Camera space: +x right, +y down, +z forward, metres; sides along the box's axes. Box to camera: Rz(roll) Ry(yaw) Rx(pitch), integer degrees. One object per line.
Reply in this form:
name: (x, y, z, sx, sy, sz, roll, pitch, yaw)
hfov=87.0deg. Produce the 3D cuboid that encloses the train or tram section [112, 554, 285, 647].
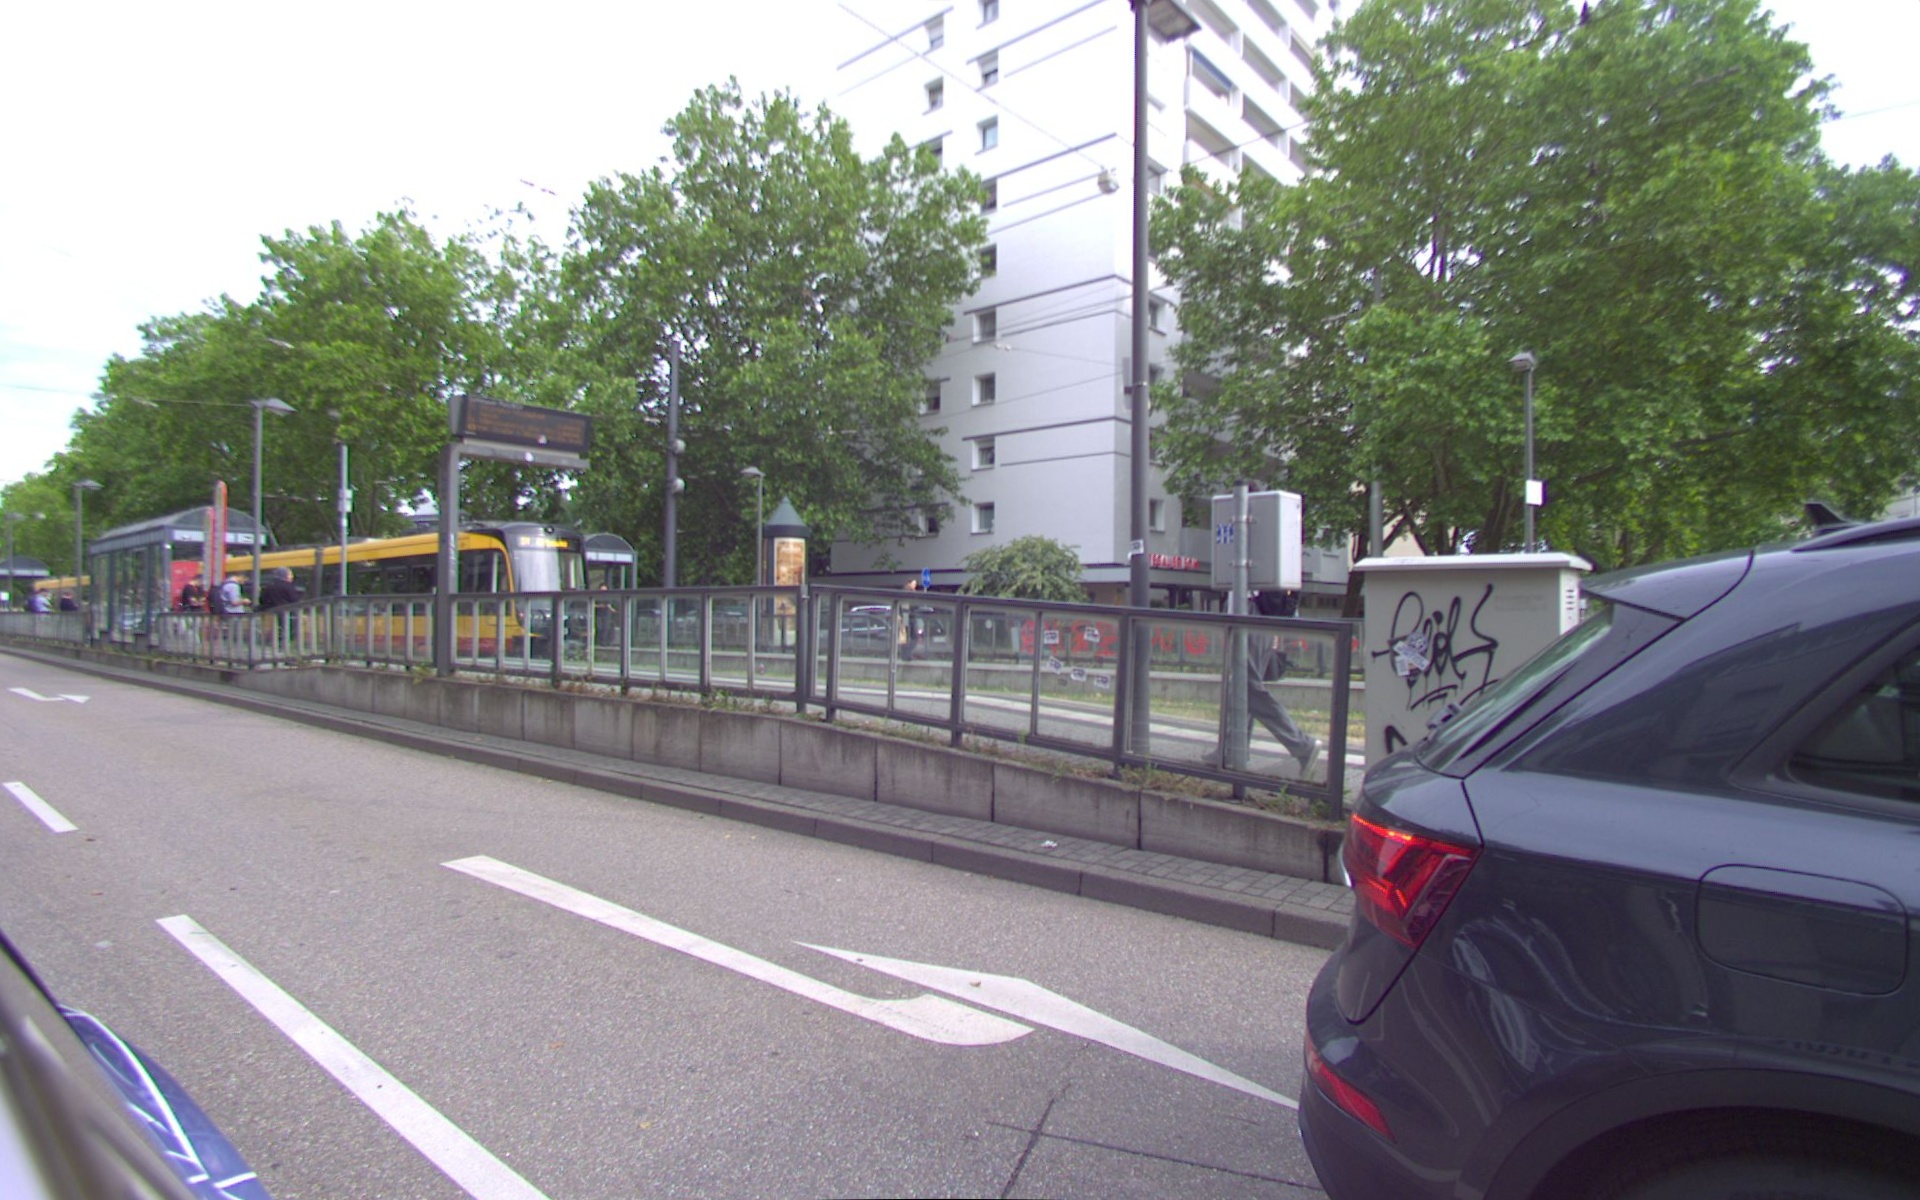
train or tram section: (-36.247, 0.082, 47.686, 16.241, 3.781, 3.295, -1, 0, 41)

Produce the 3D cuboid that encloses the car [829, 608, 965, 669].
car: (-1.613, 0.946, 25.573, 3.215, 1.439, 1.563, -1, -1, 38)

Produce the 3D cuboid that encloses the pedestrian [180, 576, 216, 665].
pedestrian: (-15.926, 0.420, 21.168, 0.467, 1.818, 0.607, -1, 0, -24)

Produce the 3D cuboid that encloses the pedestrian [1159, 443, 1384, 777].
pedestrian: (1.742, 0.052, 5.694, 0.979, 1.683, 0.711, -1, 0, 44)

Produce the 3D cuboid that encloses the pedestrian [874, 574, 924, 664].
pedestrian: (-1.215, 0.366, 20.271, 0.666, 1.763, 0.728, -1, 0, 41)

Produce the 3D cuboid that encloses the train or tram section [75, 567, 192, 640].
train or tram section: (-46.486, 0.213, 56.731, 11.039, 3.781, 3.295, -1, 0, 41)

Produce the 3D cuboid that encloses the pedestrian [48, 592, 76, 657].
pedestrian: (-25.569, 0.693, 28.829, 0.523, 1.818, 0.607, -1, 0, -35)

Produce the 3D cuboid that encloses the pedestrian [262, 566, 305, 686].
pedestrian: (-10.530, 0.390, 15.747, 0.513, 1.818, 0.606, -1, 0, -37)

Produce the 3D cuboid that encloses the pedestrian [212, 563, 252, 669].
pedestrian: (-12.752, 0.267, 17.722, 0.605, 1.818, 0.469, -1, 0, 45)

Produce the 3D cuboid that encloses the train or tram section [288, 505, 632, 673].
train or tram section: (-14.987, -0.192, 29.021, 15.196, 3.781, 3.295, -1, 0, 41)

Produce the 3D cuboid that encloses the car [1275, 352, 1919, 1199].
car: (2.688, 0.511, 0.978, 4.225, 1.649, 1.715, -1, 0, 41)

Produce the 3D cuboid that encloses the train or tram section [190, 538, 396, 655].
train or tram section: (-25.459, -0.057, 38.175, 12.543, 3.781, 3.295, -1, 0, 41)

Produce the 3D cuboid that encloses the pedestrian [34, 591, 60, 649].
pedestrian: (-29.038, 0.624, 32.191, 0.523, 1.818, 0.607, -1, 0, -35)
